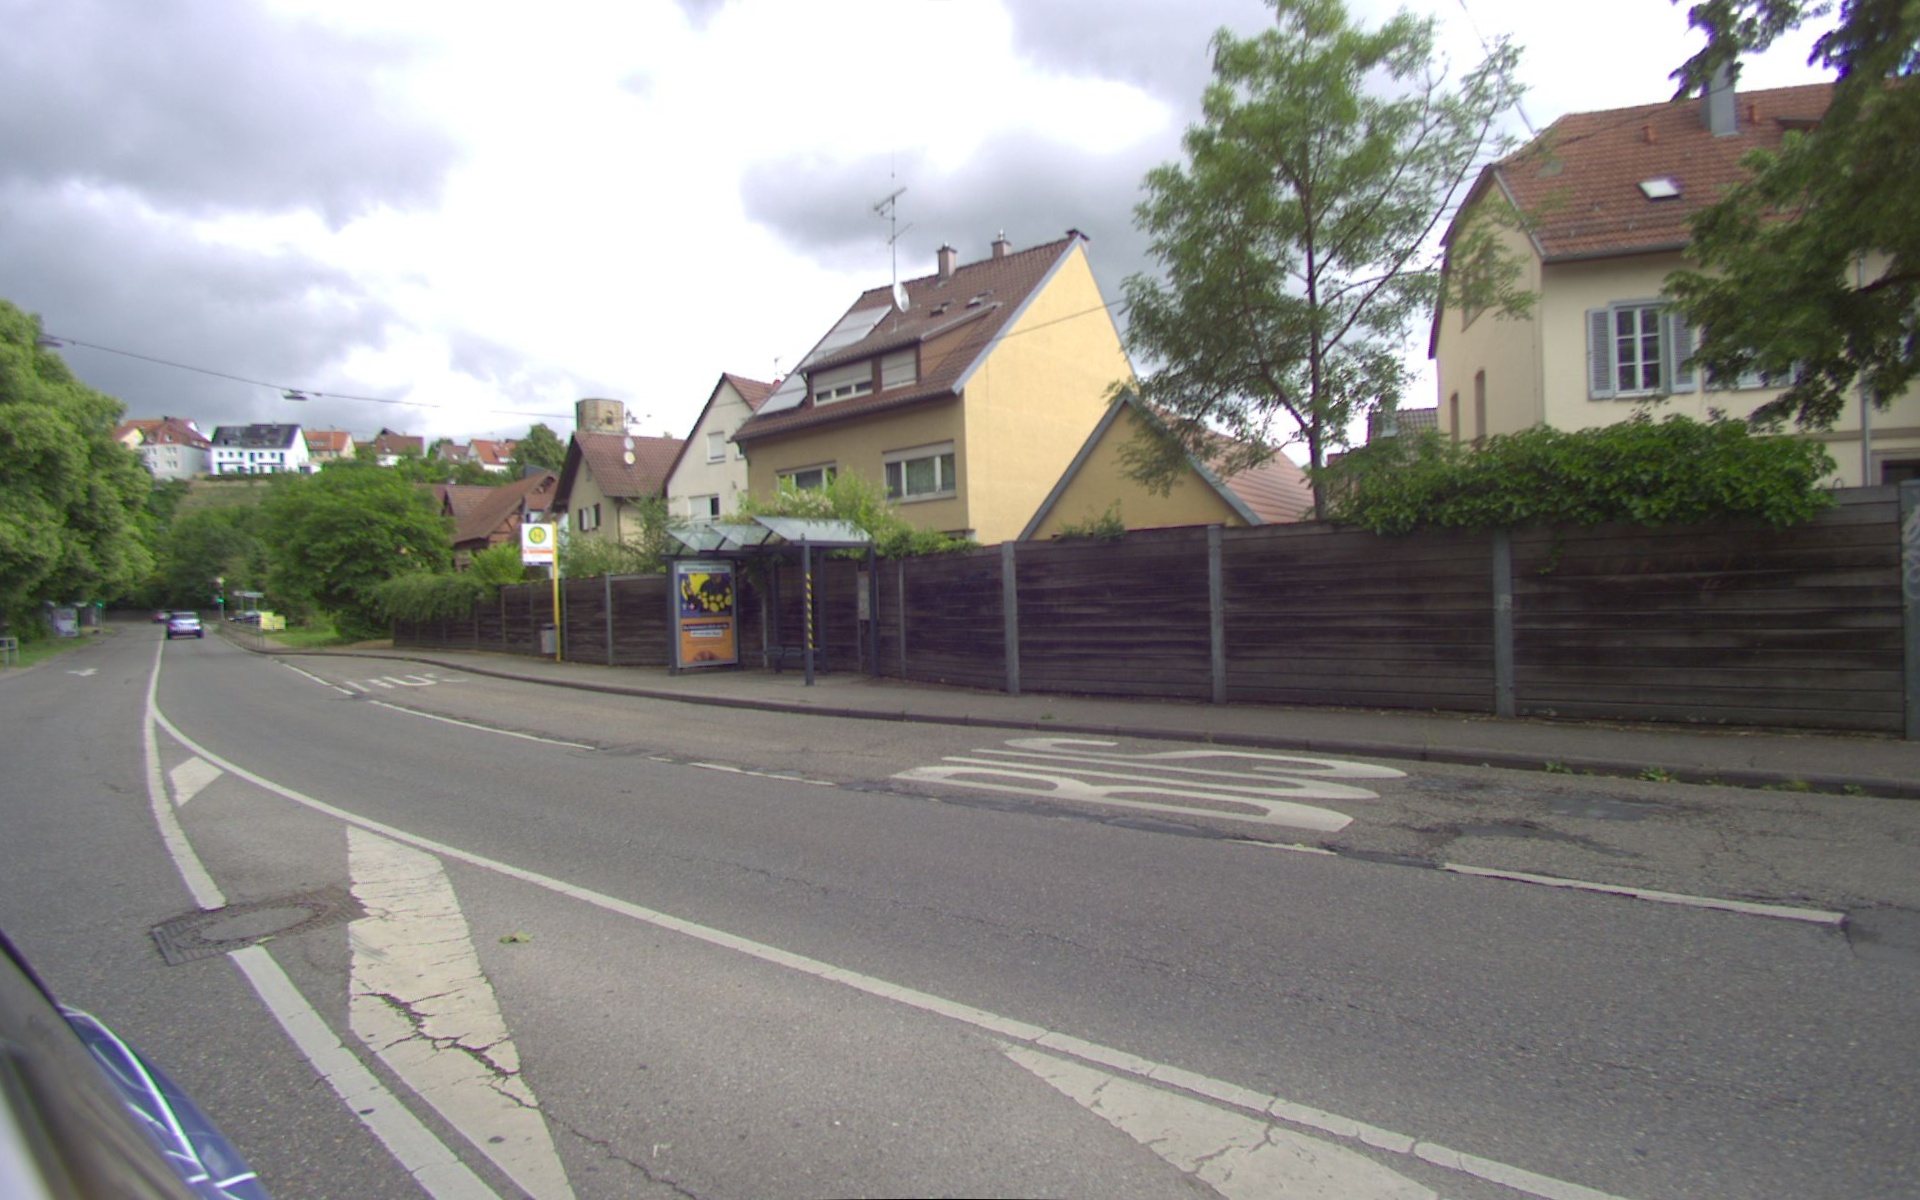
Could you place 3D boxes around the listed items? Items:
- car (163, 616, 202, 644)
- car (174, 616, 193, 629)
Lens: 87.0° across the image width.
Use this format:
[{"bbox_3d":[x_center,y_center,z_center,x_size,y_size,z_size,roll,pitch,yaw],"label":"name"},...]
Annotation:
[{"bbox_3d":[-51.634,1.972,67.173,1.910,1.737,4.700,0,-1,-39],"label":"car"},{"bbox_3d":[-92.703,2.667,120.818,1.682,1.523,4.008,1,-1,-38],"label":"car"}]
